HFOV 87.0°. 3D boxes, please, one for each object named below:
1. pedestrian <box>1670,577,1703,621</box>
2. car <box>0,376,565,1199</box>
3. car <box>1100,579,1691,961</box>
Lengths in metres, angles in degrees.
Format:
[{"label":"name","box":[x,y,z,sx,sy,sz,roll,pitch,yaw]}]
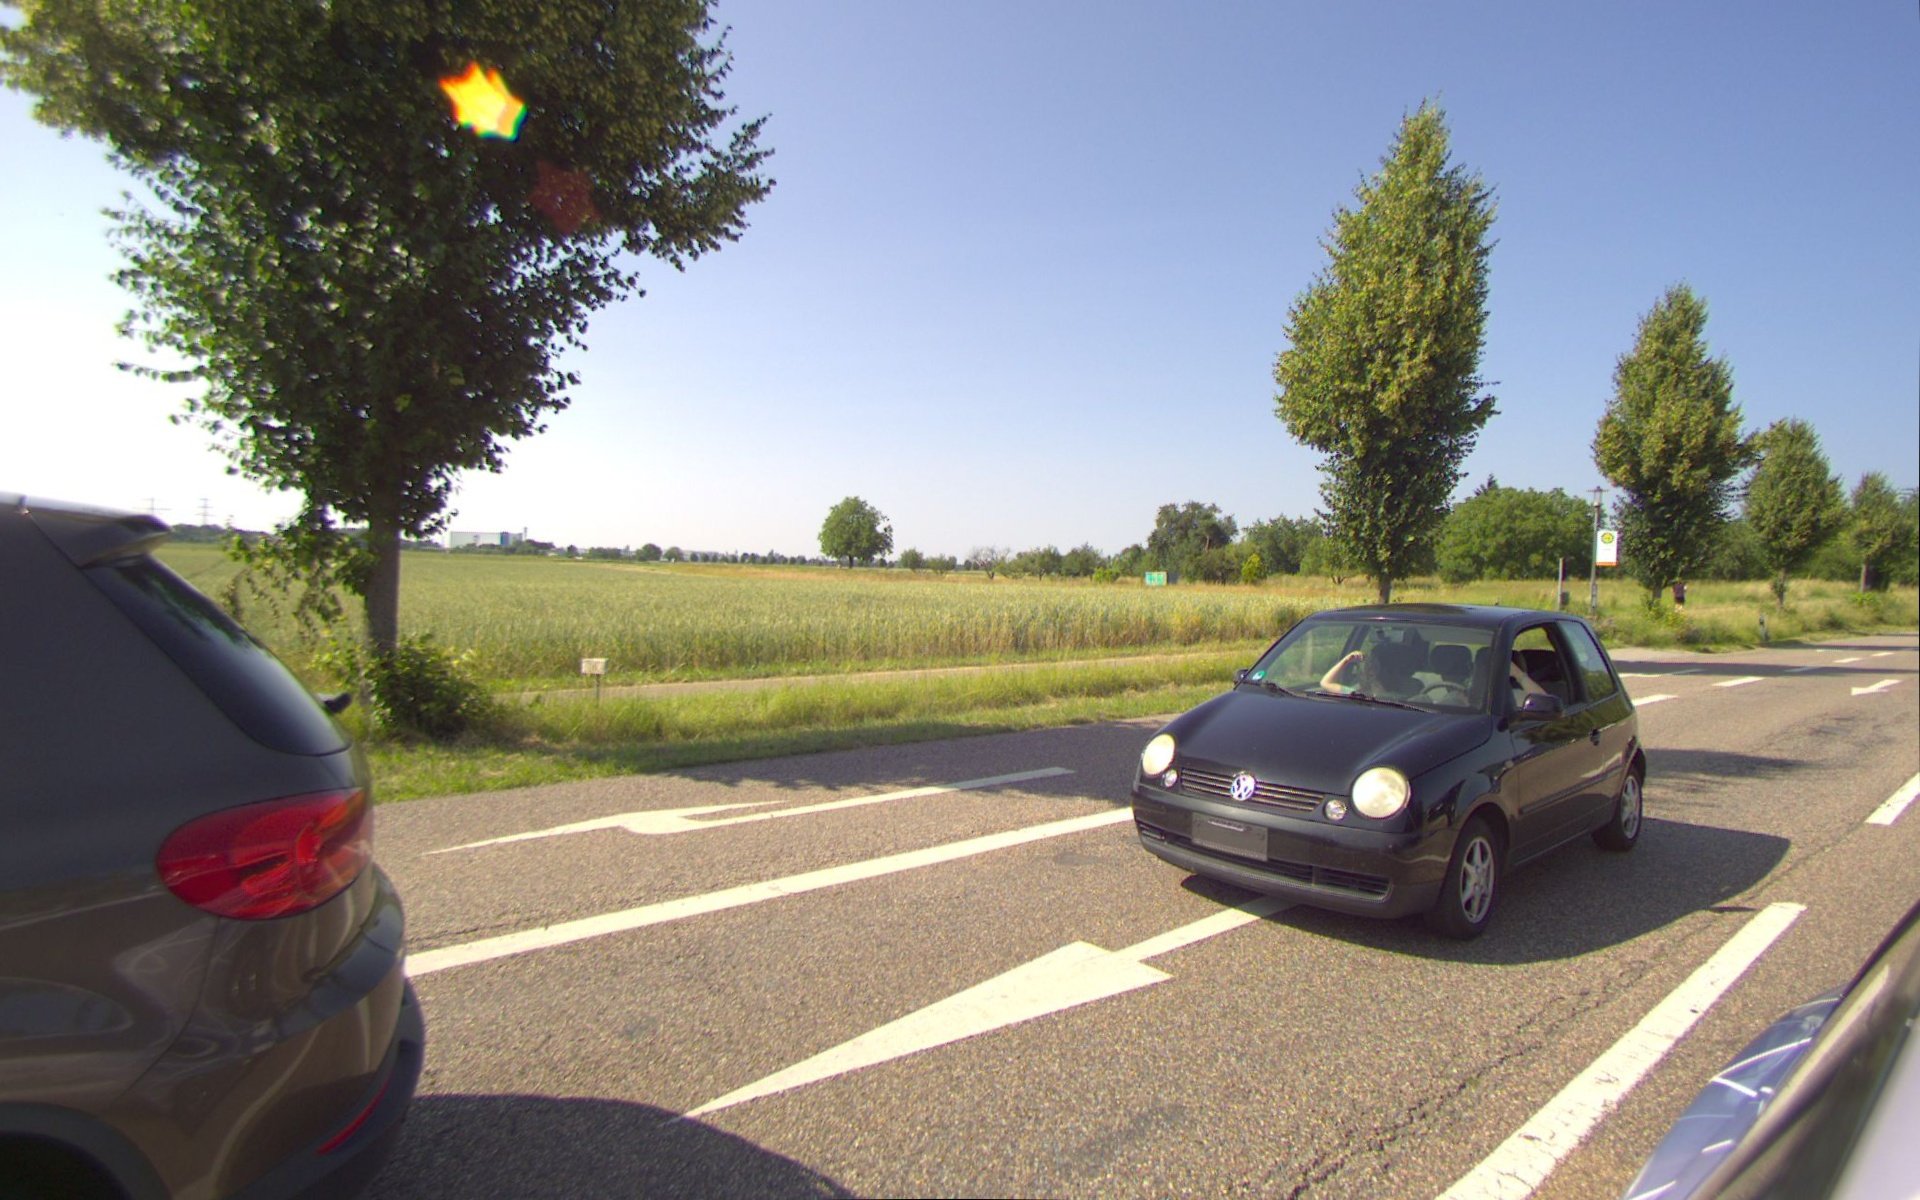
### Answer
[{"label":"pedestrian","box":[31.891,-0.042,44.430,1.174,1.862,0.903,0,2,-43]},{"label":"car","box":[-2.790,0.551,1.089,4.075,1.676,1.758,0,0,-42]},{"label":"car","box":[2.576,0.633,5.625,3.559,1.451,1.628,0,0,-41]}]
